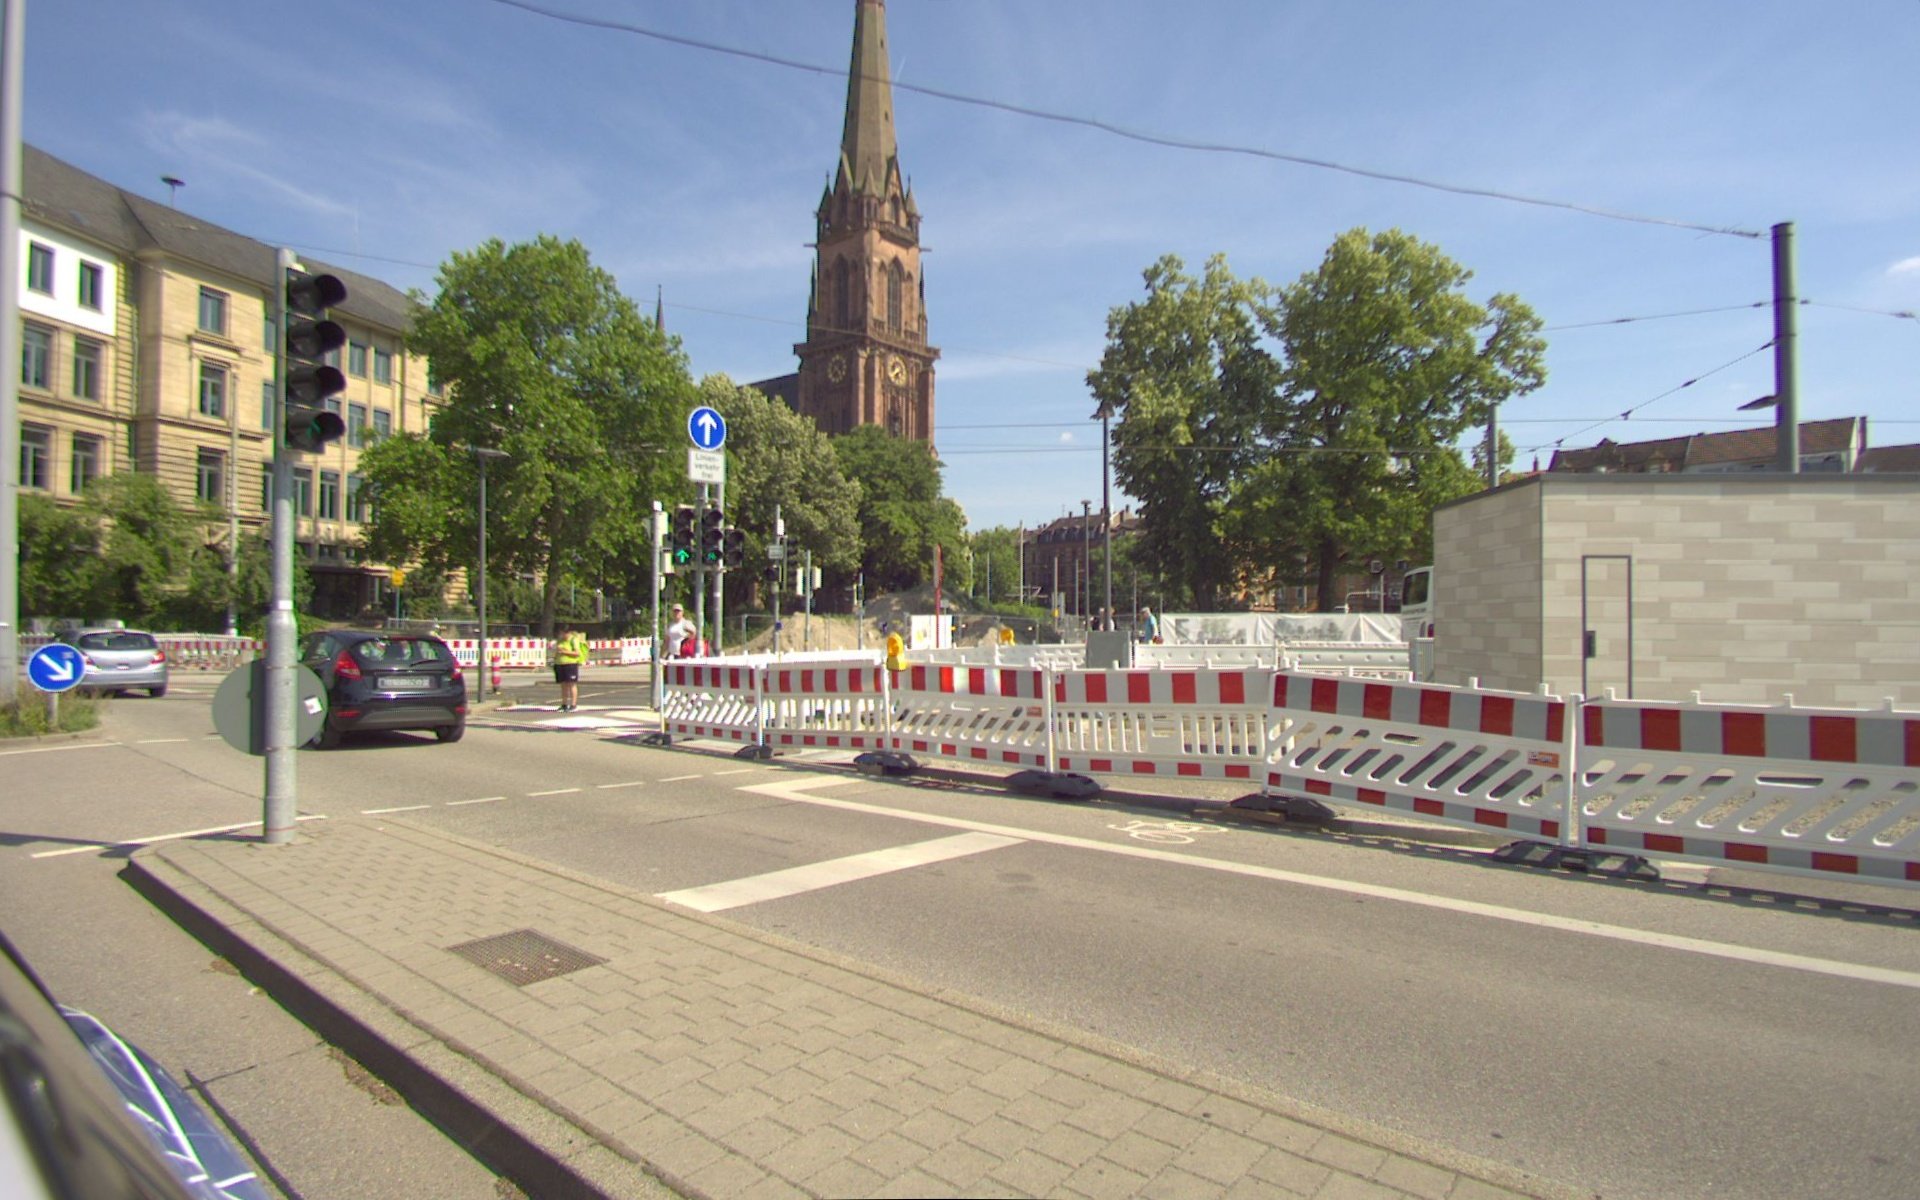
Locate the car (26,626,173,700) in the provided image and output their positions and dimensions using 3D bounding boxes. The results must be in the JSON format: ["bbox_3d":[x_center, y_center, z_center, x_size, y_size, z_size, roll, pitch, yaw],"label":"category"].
[{"bbox_3d":[-18.364,1.290,21.537,3.998,1.422,1.775,-1,-4,41],"label":"car"}]

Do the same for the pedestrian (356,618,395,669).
[{"bbox_3d":[-19.268,1.422,33.352,0.926,1.668,0.845,2,-2,-41],"label":"pedestrian"}]

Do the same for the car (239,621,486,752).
[{"bbox_3d":[-7.904,1.047,13.257,3.816,1.462,1.649,-1,-4,41],"label":"car"}]

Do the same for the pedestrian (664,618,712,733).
[{"bbox_3d":[-3.945,1.075,14.662,0.686,1.628,0.346,-2,-3,42],"label":"pedestrian"}]

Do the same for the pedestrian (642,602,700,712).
[{"bbox_3d":[-4.916,0.961,17.238,0.829,1.826,0.650,-1,-2,-3],"label":"pedestrian"}]

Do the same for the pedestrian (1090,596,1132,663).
[{"bbox_3d":[3.738,0.719,25.011,0.780,1.628,0.664,0,-2,-19],"label":"pedestrian"}]

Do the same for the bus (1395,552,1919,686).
[{"bbox_3d":[19.346,0.550,28.718,12.502,3.516,2.857,0,-2,6],"label":"bus"}]

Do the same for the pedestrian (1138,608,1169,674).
[{"bbox_3d":[4.864,1.019,25.488,0.577,1.628,0.690,-1,-2,-6],"label":"pedestrian"}]

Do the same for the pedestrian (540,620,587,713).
[{"bbox_3d":[-6.895,1.142,17.618,0.657,1.555,0.424,-2,0,-11],"label":"pedestrian"}]

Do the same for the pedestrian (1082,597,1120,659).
[{"bbox_3d":[3.991,0.788,28.731,0.922,1.726,0.559,-1,-2,-6],"label":"pedestrian"}]

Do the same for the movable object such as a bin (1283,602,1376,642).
[{"bbox_3d":[29.659,1.778,81.308,6.540,3.032,2.552,-1,-2,36],"label":"movable object such as a bin"}]

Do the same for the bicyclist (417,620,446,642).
[{"bbox_3d":[-22.028,1.289,42.199,0.857,0.934,0.682,0,-2,2],"label":"bicyclist"}]
